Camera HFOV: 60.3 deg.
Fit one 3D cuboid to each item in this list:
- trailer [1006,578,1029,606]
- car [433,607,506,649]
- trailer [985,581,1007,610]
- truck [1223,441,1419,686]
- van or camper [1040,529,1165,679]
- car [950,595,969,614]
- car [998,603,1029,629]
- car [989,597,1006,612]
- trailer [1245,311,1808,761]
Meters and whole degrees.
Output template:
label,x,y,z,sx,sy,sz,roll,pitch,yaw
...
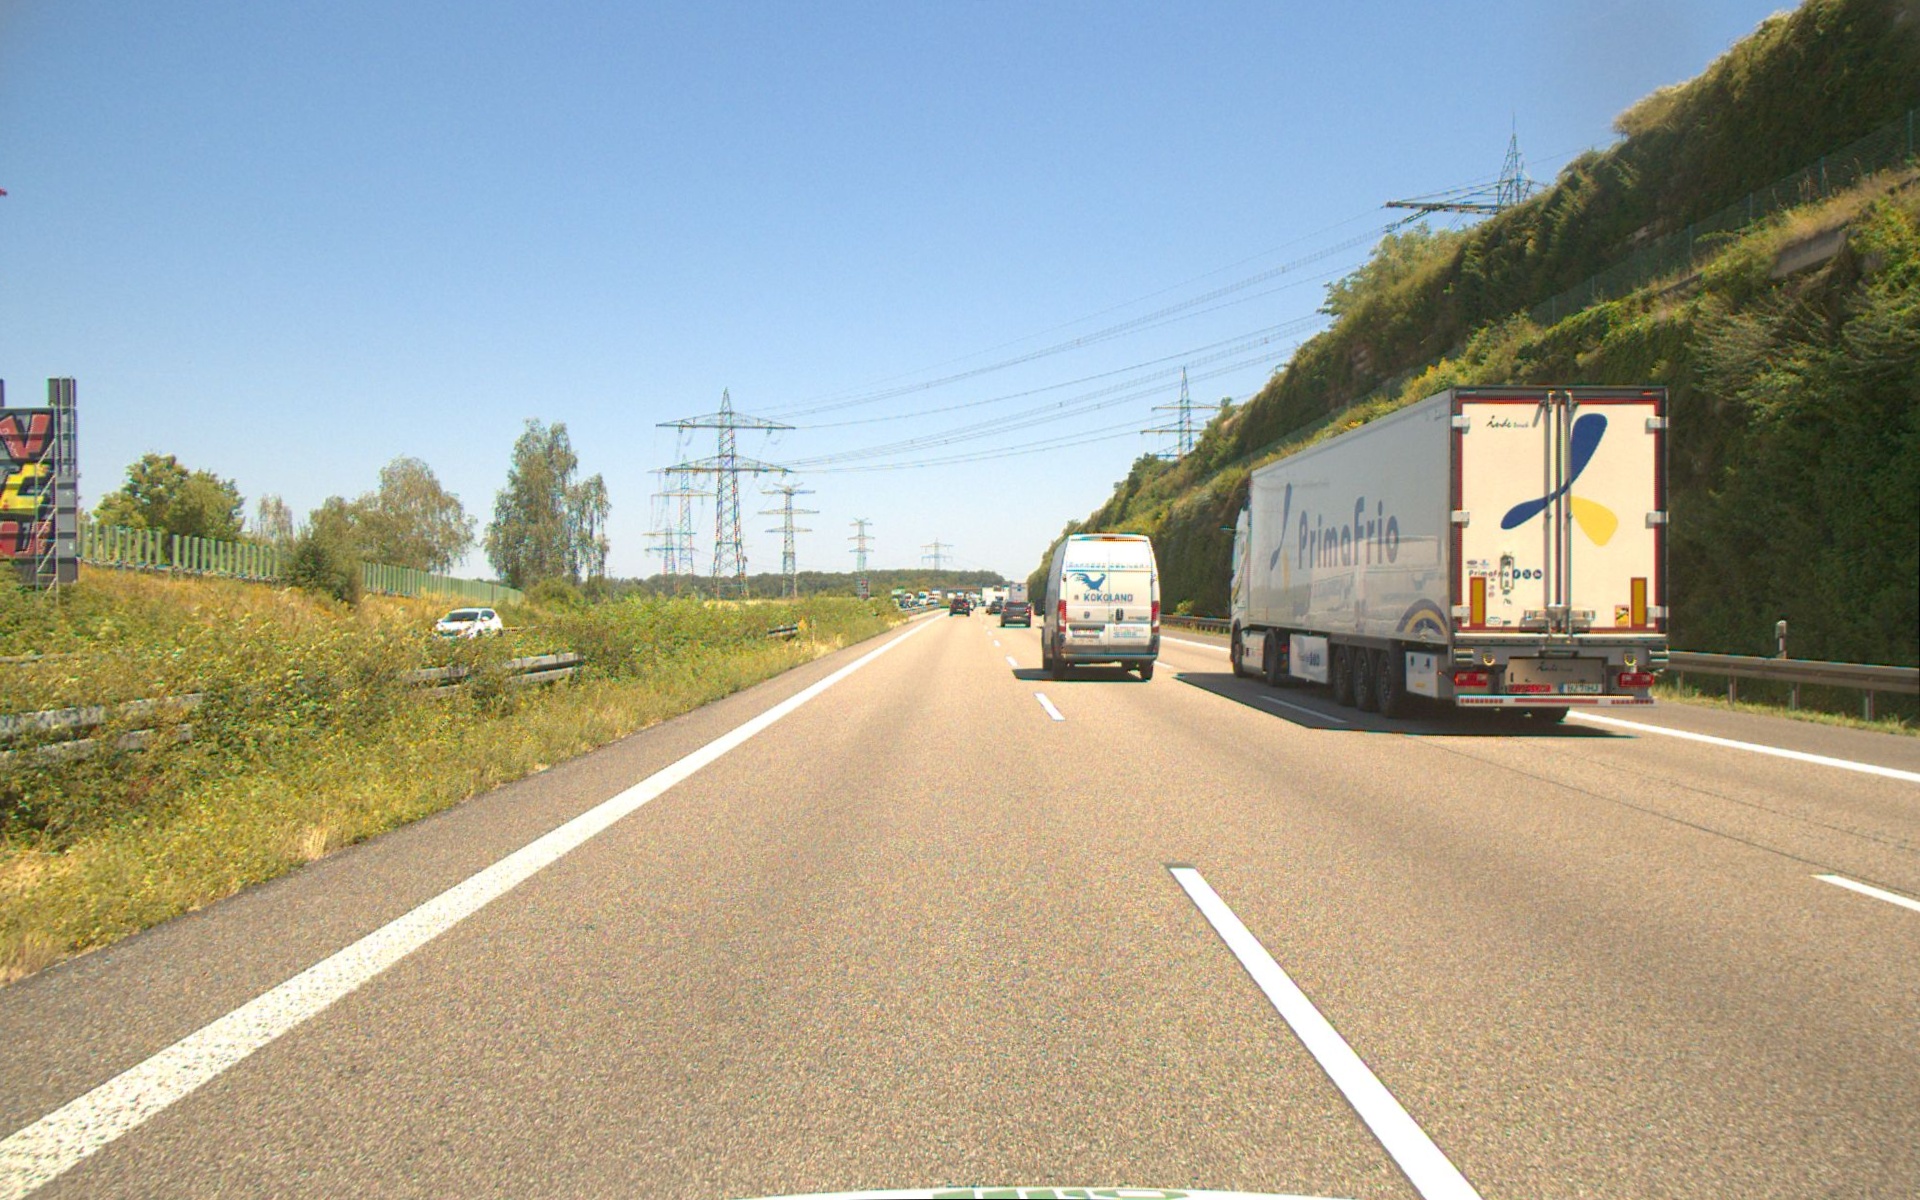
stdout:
label,x,y,z,sx,sy,sz,roll,pitch,yaw
trailer,8.692,-1.200,250.725,3.117,4.193,13.433,-1,0,1
car,-19.893,1.108,67.214,1.728,1.624,4.151,-1,0,-1
trailer,4.311,-0.536,199.779,2.557,3.269,9.953,-1,0,1
truck,6.881,-0.637,32.370,2.456,4.294,6.256,1,0,1
van or camper,2.853,0.068,34.576,2.053,2.817,6.756,0,0,0
car,-0.049,0.427,159.258,1.792,1.700,4.000,-1,0,1
car,3.173,0.945,98.639,1.713,1.552,3.995,0,0,0
car,4.002,0.508,176.362,1.792,1.552,4.001,-1,0,2
trailer,6.879,-0.636,24.291,2.463,4.285,17.027,0,0,0
